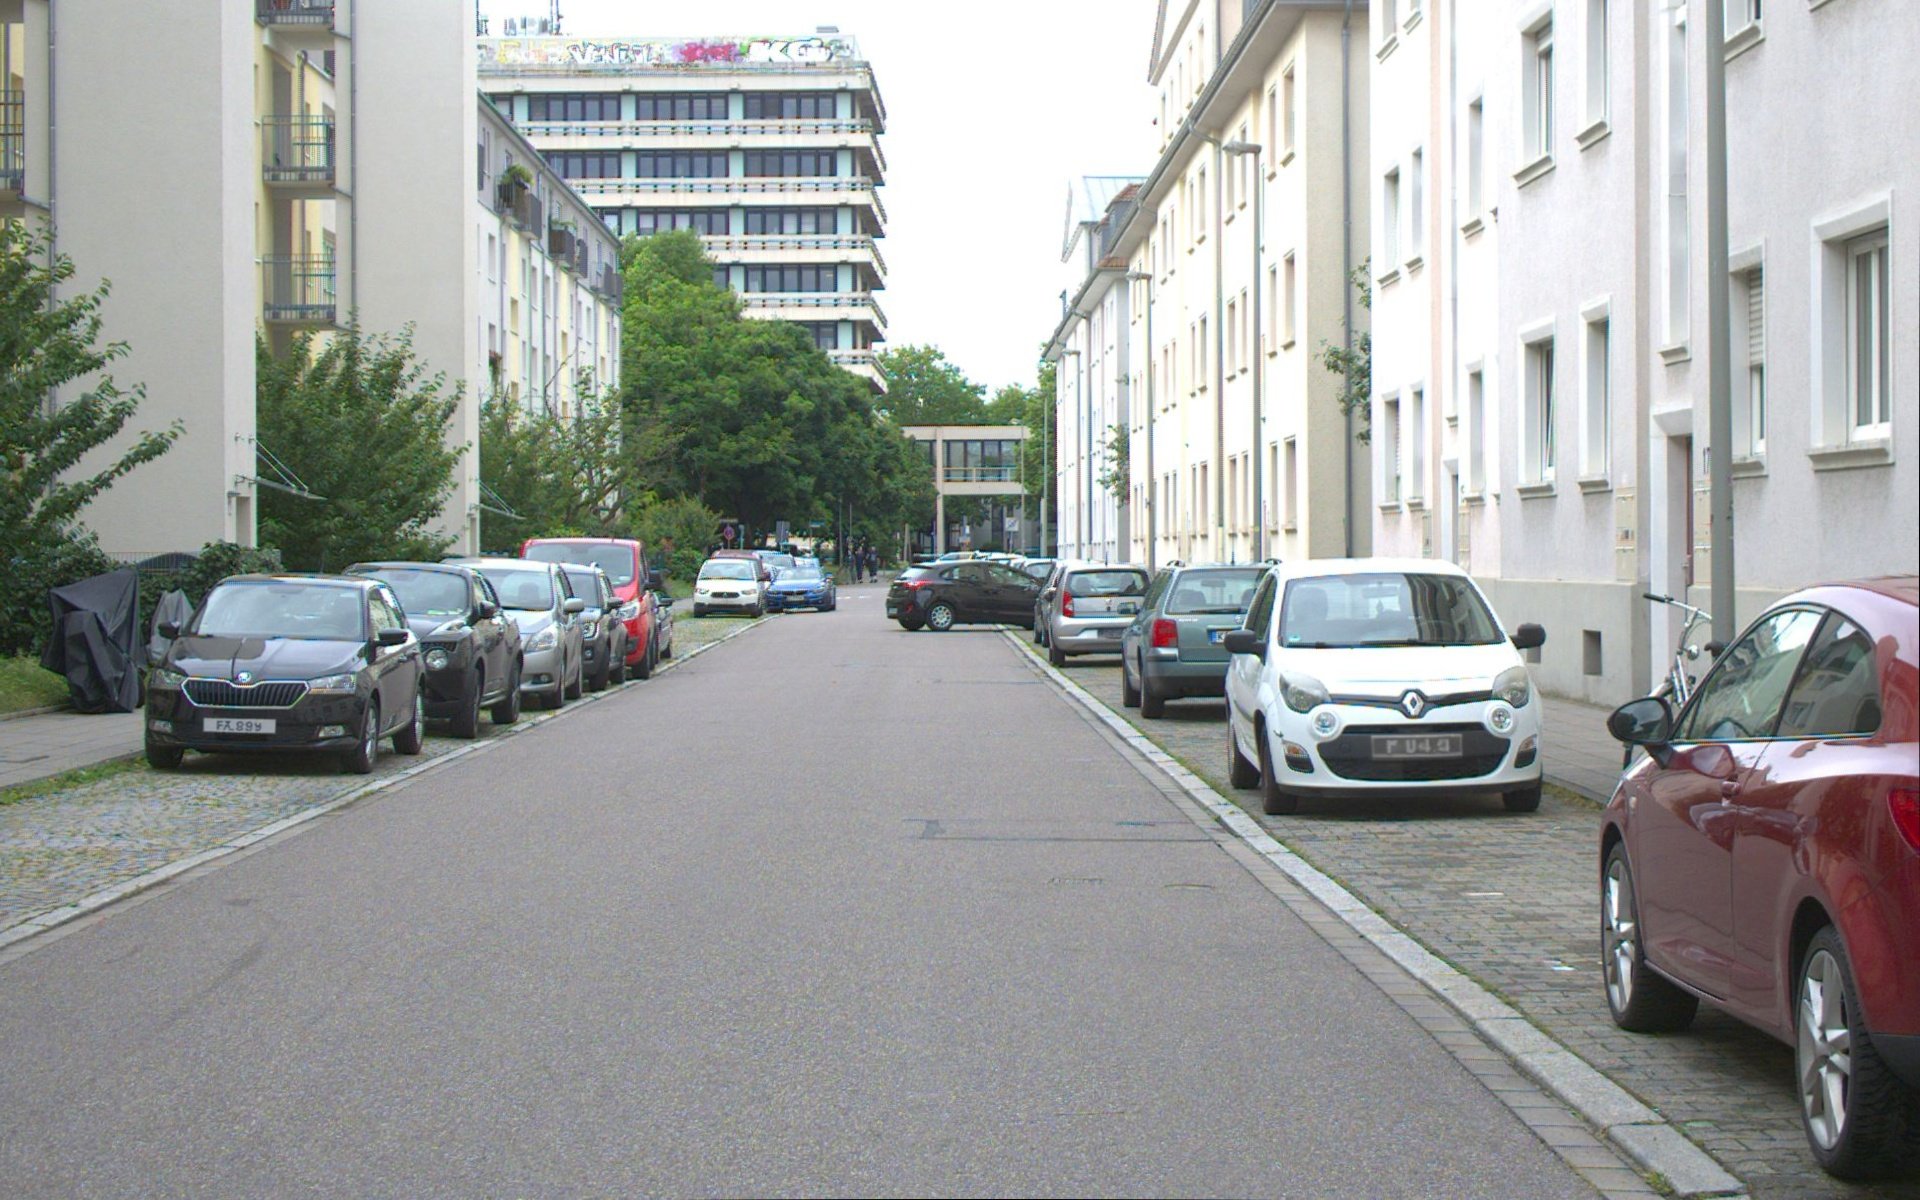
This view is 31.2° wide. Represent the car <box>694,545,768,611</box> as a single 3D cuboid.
[{"bbox_3d":[-6.332,-0.637,95.446,1.956,1.764,4.362,1,1,-3],"label":"car"}]

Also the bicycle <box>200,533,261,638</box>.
[{"bbox_3d":[-8.445,-0.176,39.847,0.551,1.188,1.728,-1,1,-8],"label":"bicycle"}]

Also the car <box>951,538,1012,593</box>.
[{"bbox_3d":[0.652,-1.075,106.007,1.820,1.636,4.091,-1,1,0],"label":"car"}]

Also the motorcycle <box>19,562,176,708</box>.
[{"bbox_3d":[-8.138,0.305,32.551,0.869,1.302,2.420,1,1,0],"label":"motorcycle"}]

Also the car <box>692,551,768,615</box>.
[{"bbox_3d":[-5.979,-0.453,89.613,1.720,1.564,3.870,2,1,-1],"label":"car"}]

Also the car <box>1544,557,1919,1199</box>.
[{"bbox_3d":[2.851,0.606,9.384,1.753,1.404,3.937,-2,1,-1],"label":"car"}]

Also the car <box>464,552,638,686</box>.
[{"bbox_3d":[-5.131,0.200,43.570,1.720,1.564,4.054,2,1,-1],"label":"car"}]

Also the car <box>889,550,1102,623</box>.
[{"bbox_3d":[0.708,-0.293,70.617,4.218,1.428,1.910,-1,1,-4],"label":"car"}]

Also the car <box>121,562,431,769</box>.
[{"bbox_3d":[-5.224,0.453,26.697,1.643,1.433,3.857,2,1,-1],"label":"car"}]

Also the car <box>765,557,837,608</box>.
[{"bbox_3d":[-4.641,-0.523,100.831,1.845,1.446,4.501,1,1,1],"label":"car"}]

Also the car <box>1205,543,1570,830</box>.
[{"bbox_3d":[2.533,0.454,21.184,1.783,1.594,3.805,-1,1,0],"label":"car"}]

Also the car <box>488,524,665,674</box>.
[{"bbox_3d":[-5.378,-0.049,48.814,2.151,1.947,4.922,2,1,-3],"label":"car"}]

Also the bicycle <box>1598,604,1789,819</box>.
[{"bbox_3d":[4.205,0.613,19.848,0.605,1.136,2.125,-1,1,-1],"label":"bicycle"}]

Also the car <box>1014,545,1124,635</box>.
[{"bbox_3d":[1.885,-0.202,60.479,1.725,1.512,4.061,-1,1,-1],"label":"car"}]

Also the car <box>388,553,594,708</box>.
[{"bbox_3d":[-5.163,0.285,38.412,1.834,1.564,4.862,2,1,-3],"label":"car"}]

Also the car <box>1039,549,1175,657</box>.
[{"bbox_3d":[2.097,0.006,49.958,1.725,1.487,4.061,-1,1,-1],"label":"car"}]

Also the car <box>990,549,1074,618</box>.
[{"bbox_3d":[1.604,-0.395,77.728,1.725,1.512,4.061,-1,1,-1],"label":"car"}]

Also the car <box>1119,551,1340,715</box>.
[{"bbox_3d":[2.544,0.273,33.325,1.725,1.464,4.265,-1,1,-1],"label":"car"}]

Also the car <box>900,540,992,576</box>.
[{"bbox_3d":[-0.676,-2.022,165.397,4.193,1.646,1.897,-1,1,-7],"label":"car"}]

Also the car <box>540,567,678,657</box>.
[{"bbox_3d":[-5.559,0.162,54.875,1.870,1.319,4.362,1,1,-2],"label":"car"}]

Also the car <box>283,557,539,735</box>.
[{"bbox_3d":[-5.111,0.383,32.448,1.653,1.525,3.895,2,1,1],"label":"car"}]
